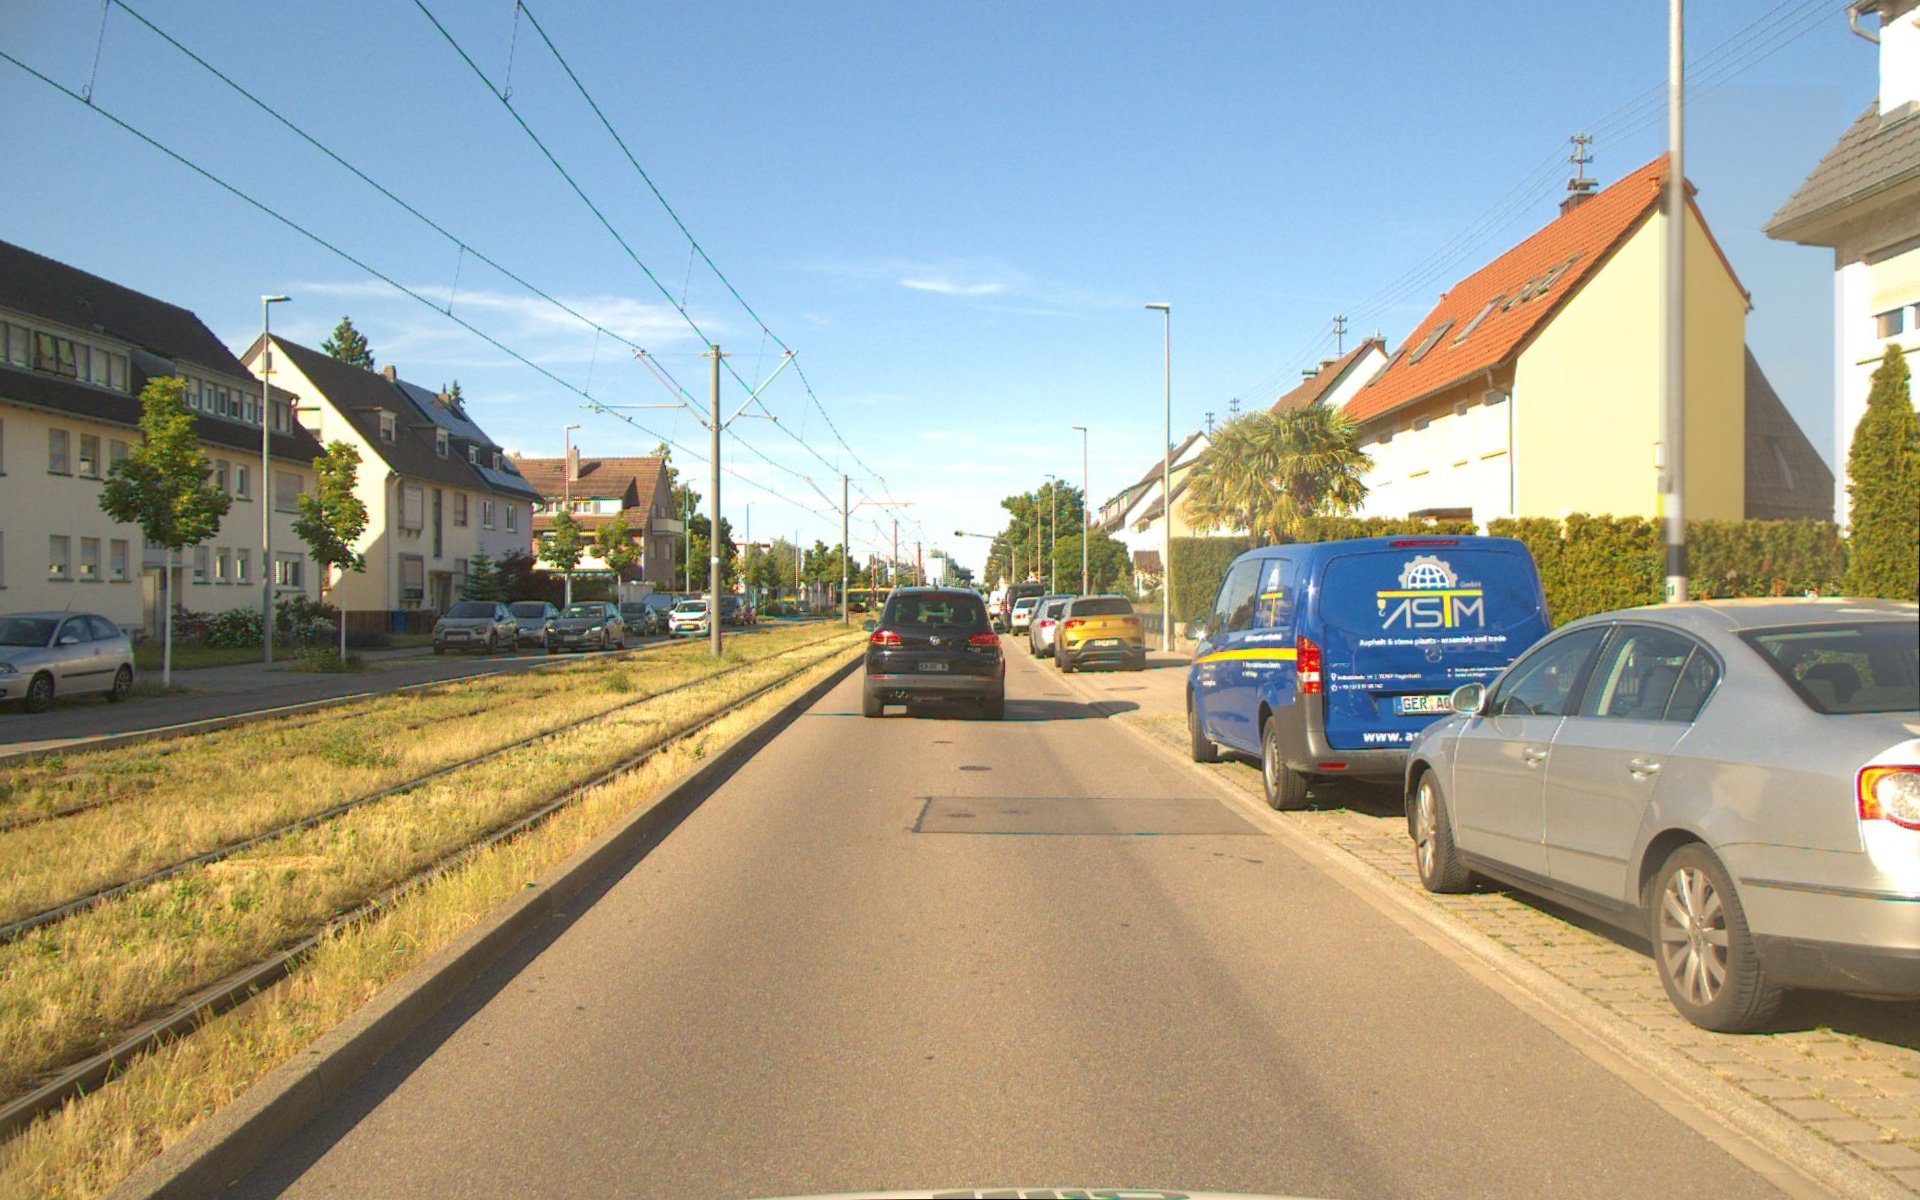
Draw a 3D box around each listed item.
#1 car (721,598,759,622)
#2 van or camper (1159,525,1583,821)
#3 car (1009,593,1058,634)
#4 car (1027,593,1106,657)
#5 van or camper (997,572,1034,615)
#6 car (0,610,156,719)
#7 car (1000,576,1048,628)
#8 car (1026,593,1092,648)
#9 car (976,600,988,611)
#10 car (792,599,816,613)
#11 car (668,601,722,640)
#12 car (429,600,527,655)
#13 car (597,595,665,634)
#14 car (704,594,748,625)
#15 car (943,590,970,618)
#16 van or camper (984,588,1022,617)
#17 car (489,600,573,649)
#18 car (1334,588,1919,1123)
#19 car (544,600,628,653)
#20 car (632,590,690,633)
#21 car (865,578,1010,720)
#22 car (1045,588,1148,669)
[{"bbox_3d":[-13.477,0.613,101.465,1.660,1.429,4.079,-1,0,1],"label":"car"},{"bbox_3d":[3.021,0.482,13.579,1.910,1.879,5.581,-1,0,-2],"label":"van or camper"},{"bbox_3d":[2.894,0.506,65.846,1.814,1.469,5.614,-2,0,2],"label":"car"},{"bbox_3d":[2.732,0.604,43.311,1.712,1.472,4.698,-1,1,-1],"label":"car"},{"bbox_3d":[3.140,-0.344,95.133,1.952,2.310,6.305,-2,0,1],"label":"van or camper"},{"bbox_3d":[-13.935,0.908,25.001,1.624,1.461,4.102,0,0,-1],"label":"car"},{"bbox_3d":[2.769,0.092,72.607,1.919,2.181,5.335,-1,0,0],"label":"car"},{"bbox_3d":[2.884,0.561,48.988,1.741,1.525,4.729,-1,0,1],"label":"car"},{"bbox_3d":[3.502,0.936,259.050,1.740,1.699,3.999,0,0,-1],"label":"car"},{"bbox_3d":[-17.121,0.693,181.552,1.772,1.486,4.320,1,0,5],"label":"car"},{"bbox_3d":[-10.642,0.817,66.611,1.654,1.501,3.678,1,0,-1],"label":"car"},{"bbox_3d":[-14.003,0.774,48.260,1.654,1.498,4.313,1,0,-1],"label":"car"},{"bbox_3d":[-13.961,0.629,70.435,1.920,1.567,4.556,1,0,0],"label":"car"},{"bbox_3d":[-13.509,0.550,95.725,1.782,1.714,4.846,1,0,1],"label":"car"},{"bbox_3d":[-0.271,0.258,112.483,1.595,1.860,4.127,-1,0,-4],"label":"car"},{"bbox_3d":[3.048,0.173,115.800,1.984,1.990,5.299,-1,0,8],"label":"van or camper"},{"bbox_3d":[-14.019,0.774,54.257,1.654,1.501,4.441,1,0,-1],"label":"car"},{"bbox_3d":[3.281,0.700,7.326,1.696,1.484,5.281,-1,0,-4],"label":"car"},{"bbox_3d":[-11.179,0.771,49.688,1.654,1.501,4.082,1,0,-1],"label":"car"},{"bbox_3d":[-13.798,0.516,76.587,1.709,1.855,4.841,1,0,1],"label":"car"},{"bbox_3d":[-0.318,0.614,22.194,1.740,1.699,3.999,1,0,-1],"label":"car"},{"bbox_3d":[2.896,0.580,35.967,1.768,1.586,4.926,-1,0,0],"label":"car"}]
